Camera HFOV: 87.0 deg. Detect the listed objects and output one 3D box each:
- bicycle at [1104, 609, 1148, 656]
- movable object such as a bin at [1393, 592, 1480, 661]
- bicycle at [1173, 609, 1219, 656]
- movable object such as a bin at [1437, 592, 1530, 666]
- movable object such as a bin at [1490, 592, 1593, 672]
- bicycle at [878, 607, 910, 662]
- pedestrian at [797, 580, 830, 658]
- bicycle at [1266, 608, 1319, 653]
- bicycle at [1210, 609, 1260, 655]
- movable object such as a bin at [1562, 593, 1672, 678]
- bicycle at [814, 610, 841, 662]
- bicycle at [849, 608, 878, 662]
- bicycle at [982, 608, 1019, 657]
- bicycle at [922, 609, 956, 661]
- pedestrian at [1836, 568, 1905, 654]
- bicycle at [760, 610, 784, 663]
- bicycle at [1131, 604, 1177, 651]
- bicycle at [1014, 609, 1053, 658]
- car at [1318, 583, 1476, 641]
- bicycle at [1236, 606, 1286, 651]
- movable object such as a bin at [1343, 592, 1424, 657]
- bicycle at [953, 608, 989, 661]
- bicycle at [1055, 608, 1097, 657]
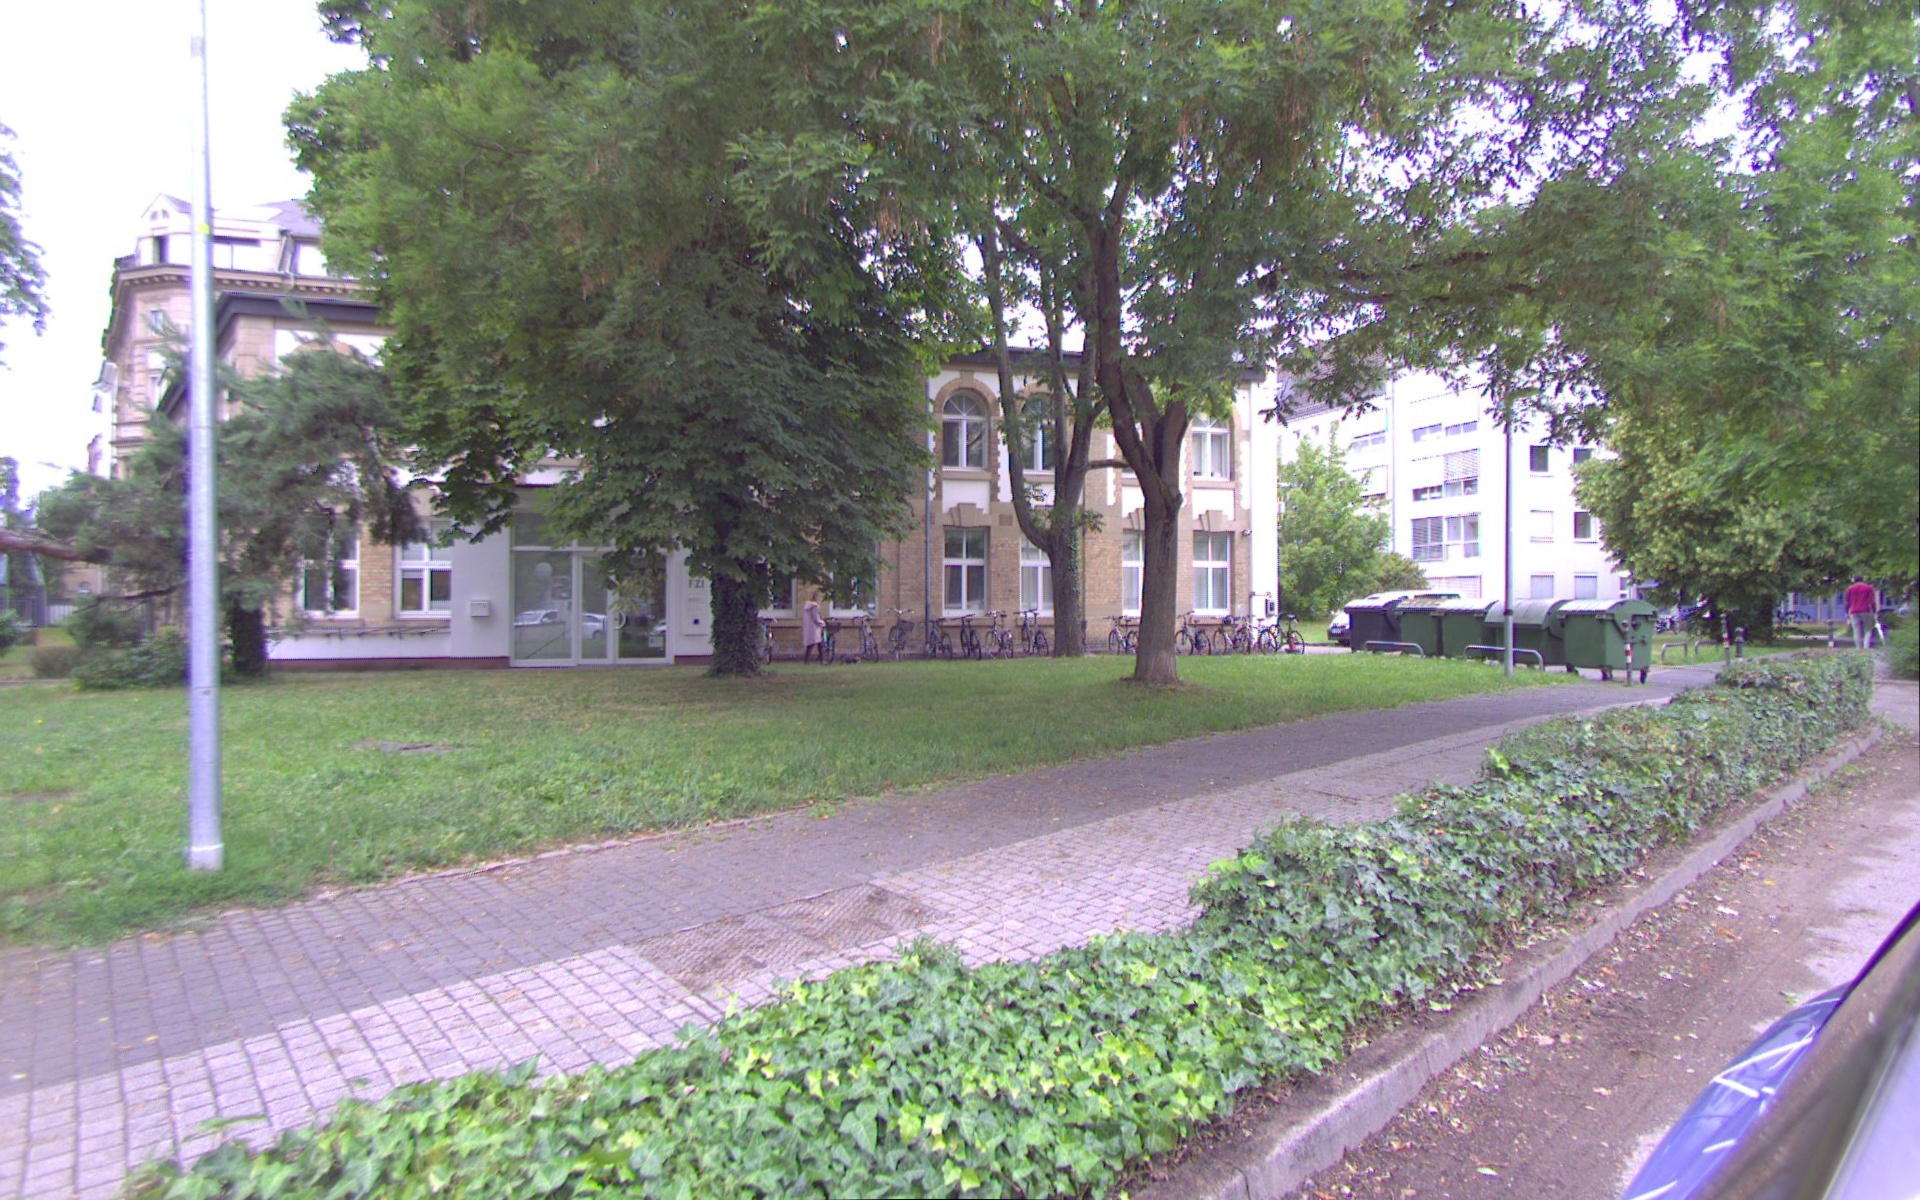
[{"bbox_3d":[4.110,0.790,25.142,0.451,1.129,1.748,0,0,-13],"label":"bicycle"},{"bbox_3d":[10.454,0.562,22.239,1.085,1.469,1.329,0,-1,-19],"label":"movable object such as a bin"},{"bbox_3d":[5.939,0.806,25.575,0.451,1.129,1.747,0,0,-11],"label":"bicycle"},{"bbox_3d":[10.777,0.574,20.863,1.085,1.469,1.297,0,-1,-19],"label":"movable object such as a bin"},{"bbox_3d":[11.076,0.587,19.327,1.085,1.469,1.289,0,-1,-17],"label":"movable object such as a bin"},{"bbox_3d":[-1.547,0.784,23.567,0.451,1.128,1.749,0,3,-13],"label":"bicycle"},{"bbox_3d":[-3.069,0.389,21.201,0.614,1.607,0.605,0,-1,-15],"label":"pedestrian"},{"bbox_3d":[8.678,0.785,26.488,0.451,1.129,1.748,0,0,-14],"label":"bicycle"},{"bbox_3d":[7.041,0.803,25.983,0.451,1.129,1.748,0,0,-13],"label":"bicycle"},{"bbox_3d":[11.607,0.604,17.920,1.050,1.452,1.277,0,0,-6],"label":"movable object such as a bin"},{"bbox_3d":[-3.019,0.801,23.017,0.451,1.129,1.748,0,0,-13],"label":"bicycle"},{"bbox_3d":[-2.237,0.790,23.296,0.451,1.128,1.748,0,2,-13],"label":"bicycle"},{"bbox_3d":[0.963,0.761,24.299,0.451,1.129,1.748,0,0,-13],"label":"bicycle"},{"bbox_3d":[-0.511,0.793,23.832,0.451,1.128,1.748,0,1,-13],"label":"bicycle"},{"bbox_3d":[22.733,0.270,25.280,1.176,2.090,0.796,0,0,-19],"label":"pedestrian"},{"bbox_3d":[-4.212,0.788,22.642,0.451,1.129,1.748,0,0,-13],"label":"bicycle"},{"bbox_3d":[4.835,0.678,25.349,0.451,1.129,1.748,0,0,-13],"label":"bicycle"},{"bbox_3d":[1.765,0.789,24.542,0.451,1.129,1.748,0,0,-13],"label":"bicycle"},{"bbox_3d":[14.964,0.415,34.740,4.673,1.898,1.904,0,-3,-13],"label":"car"},{"bbox_3d":[7.787,0.715,26.260,0.451,1.129,1.748,0,0,-13],"label":"bicycle"},{"bbox_3d":[9.913,0.557,23.720,1.085,1.469,1.365,0,-1,-20],"label":"movable object such as a bin"},{"bbox_3d":[0.254,0.804,24.058,0.451,1.128,1.749,0,2,-13],"label":"bicycle"},{"bbox_3d":[2.818,0.775,24.711,0.451,1.129,1.748,0,0,-13],"label":"bicycle"}]
